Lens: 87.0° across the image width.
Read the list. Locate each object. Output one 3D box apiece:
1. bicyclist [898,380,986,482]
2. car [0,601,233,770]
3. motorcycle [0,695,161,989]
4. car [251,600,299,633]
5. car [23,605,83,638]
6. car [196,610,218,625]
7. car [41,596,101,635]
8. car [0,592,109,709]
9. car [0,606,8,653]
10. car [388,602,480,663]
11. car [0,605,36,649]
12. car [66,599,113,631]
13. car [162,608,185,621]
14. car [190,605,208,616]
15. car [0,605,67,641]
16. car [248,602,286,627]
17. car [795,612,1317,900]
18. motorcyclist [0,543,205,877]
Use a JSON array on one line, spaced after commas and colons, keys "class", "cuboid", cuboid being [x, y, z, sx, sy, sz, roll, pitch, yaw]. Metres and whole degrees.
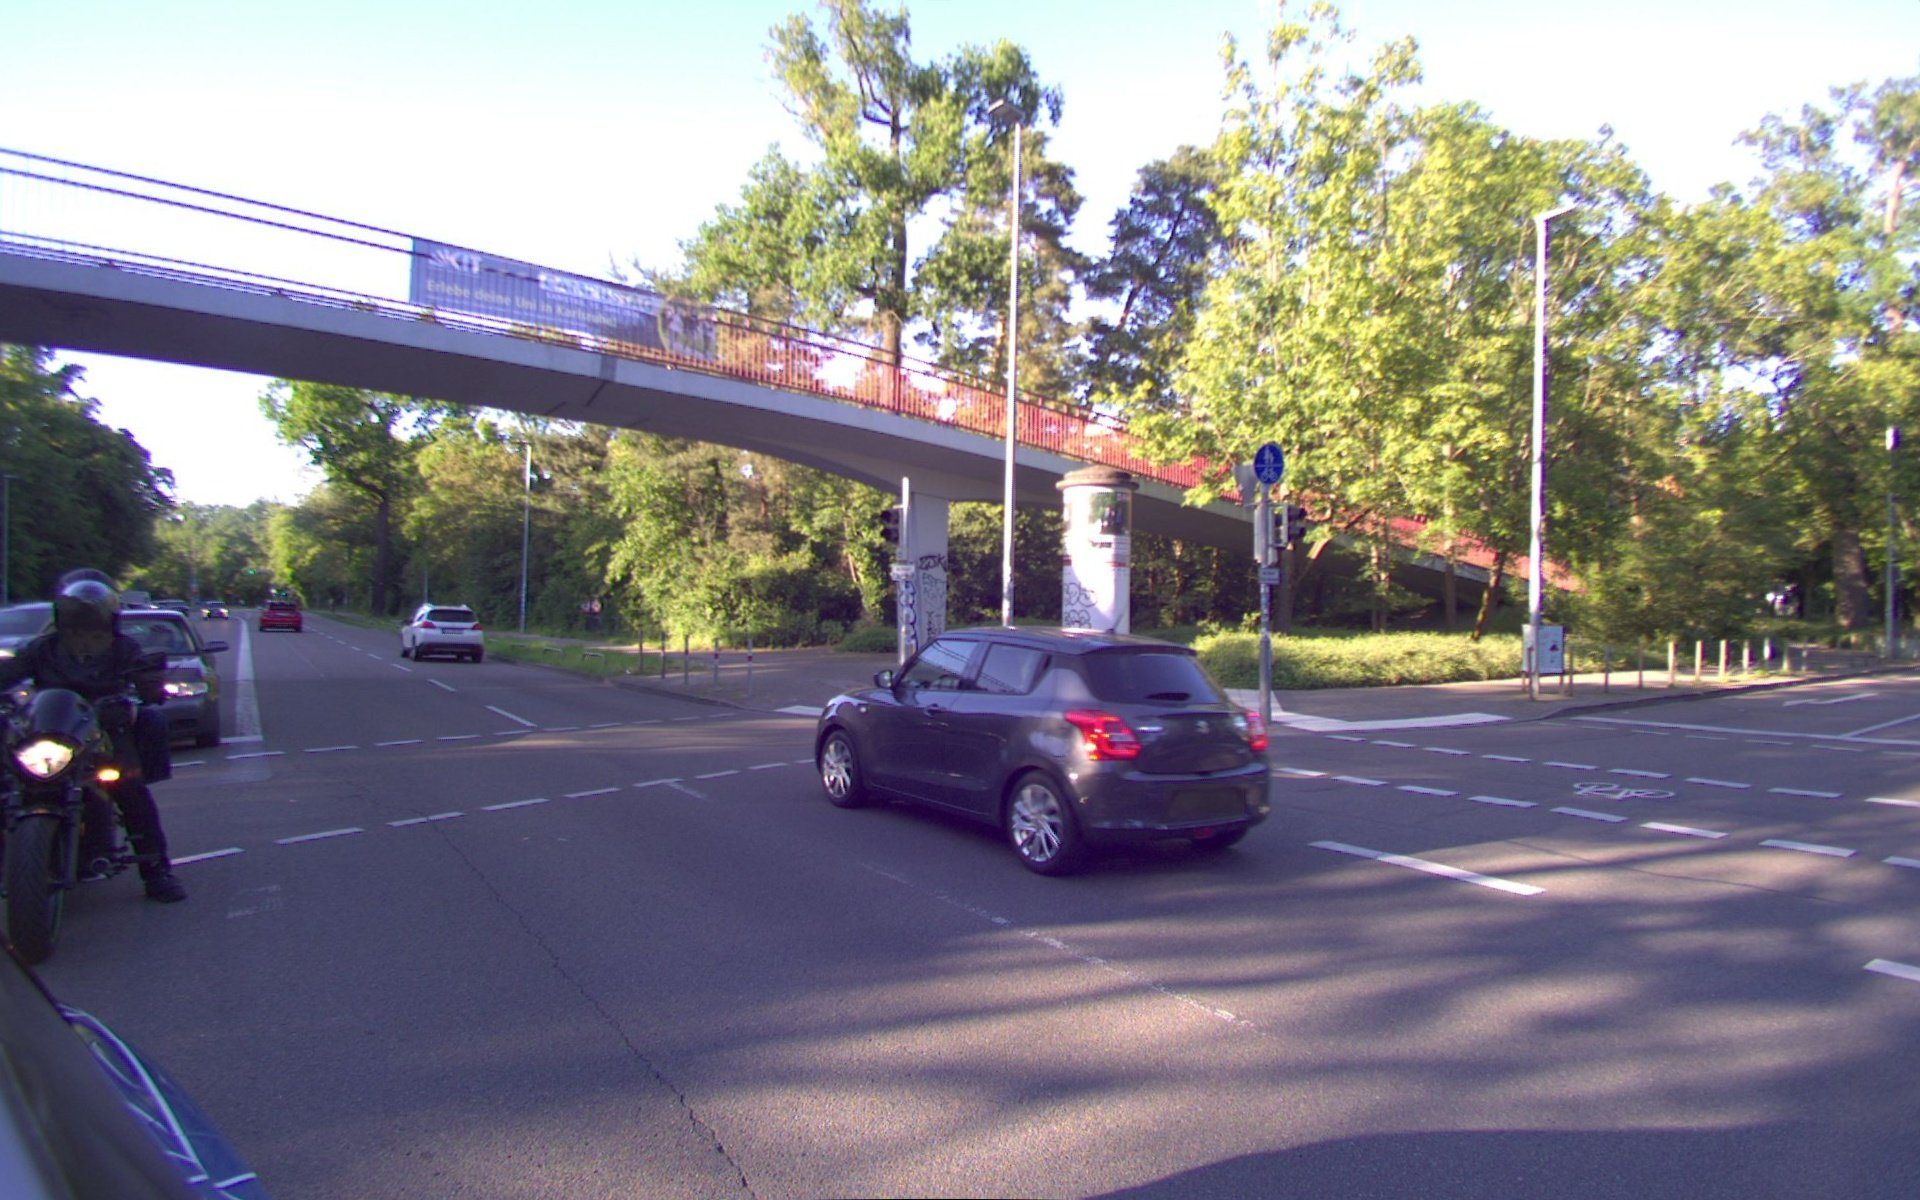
[{"class": "bicyclist", "cuboid": [-0.443, -4.115, 24.972, 1.656, 2.185, 1.416, 0, 0, -35]}, {"class": "car", "cuboid": [-8.780, 0.731, 10.594, 1.838, 1.400, 4.009, -1, 1, -36]}, {"class": "motorcycle", "cuboid": [-4.497, 1.038, 4.953, 0.795, 0.920, 2.719, 0, -1, -36]}, {"class": "car", "cuboid": [-32.881, 0.781, 48.524, 1.727, 1.467, 3.648, 3, -2, -36]}, {"class": "car", "cuboid": [-44.269, 1.023, 49.464, 1.709, 1.519, 4.406, 2, -1, -36]}, {"class": "car", "cuboid": [-61.889, 1.421, 83.207, 1.442, 1.253, 4.009, 1, -1, -36]}, {"class": "car", "cuboid": [-48.390, 0.835, 55.201, 1.985, 1.991, 5.053, 2, -1, -36]}, {"class": "car", "cuboid": [-15.392, 0.696, 16.522, 1.967, 1.647, 5.900, 1, 0, -37]}, {"class": "car", "cuboid": [-31.471, 0.943, 31.807, 1.709, 1.519, 4.162, 2, -1, -36]}, {"class": "car", "cuboid": [-14.704, 0.876, 28.199, 1.655, 1.535, 3.911, 3, -2, -36]}, {"class": "car", "cuboid": [-34.589, 0.943, 36.306, 1.677, 1.519, 4.146, 2, -1, -36]}, {"class": "car", "cuboid": [-55.713, 0.969, 64.817, 1.921, 1.991, 4.406, 2, -1, -36]}, {"class": "car", "cuboid": [-79.179, 1.467, 101.865, 1.709, 1.253, 4.009, 1, -1, -36]}, {"class": "car", "cuboid": [-103.521, 1.412, 137.675, 1.865, 1.511, 4.405, 2, -1, -37]}, {"class": "car", "cuboid": [-41.112, 0.984, 44.975, 1.709, 1.519, 4.406, 2, -1, -36]}, {"class": "car", "cuboid": [-45.612, 0.931, 66.586, 1.935, 1.517, 4.658, 1, 0, -36]}, {"class": "car", "cuboid": [0.441, 0.867, 7.227, 1.685, 1.464, 3.648, 4, -2, -36]}, {"class": "motorcyclist", "cuboid": [-4.496, 0.453, 5.049, 1.120, 1.438, 1.570, 1, 1, -36]}]
